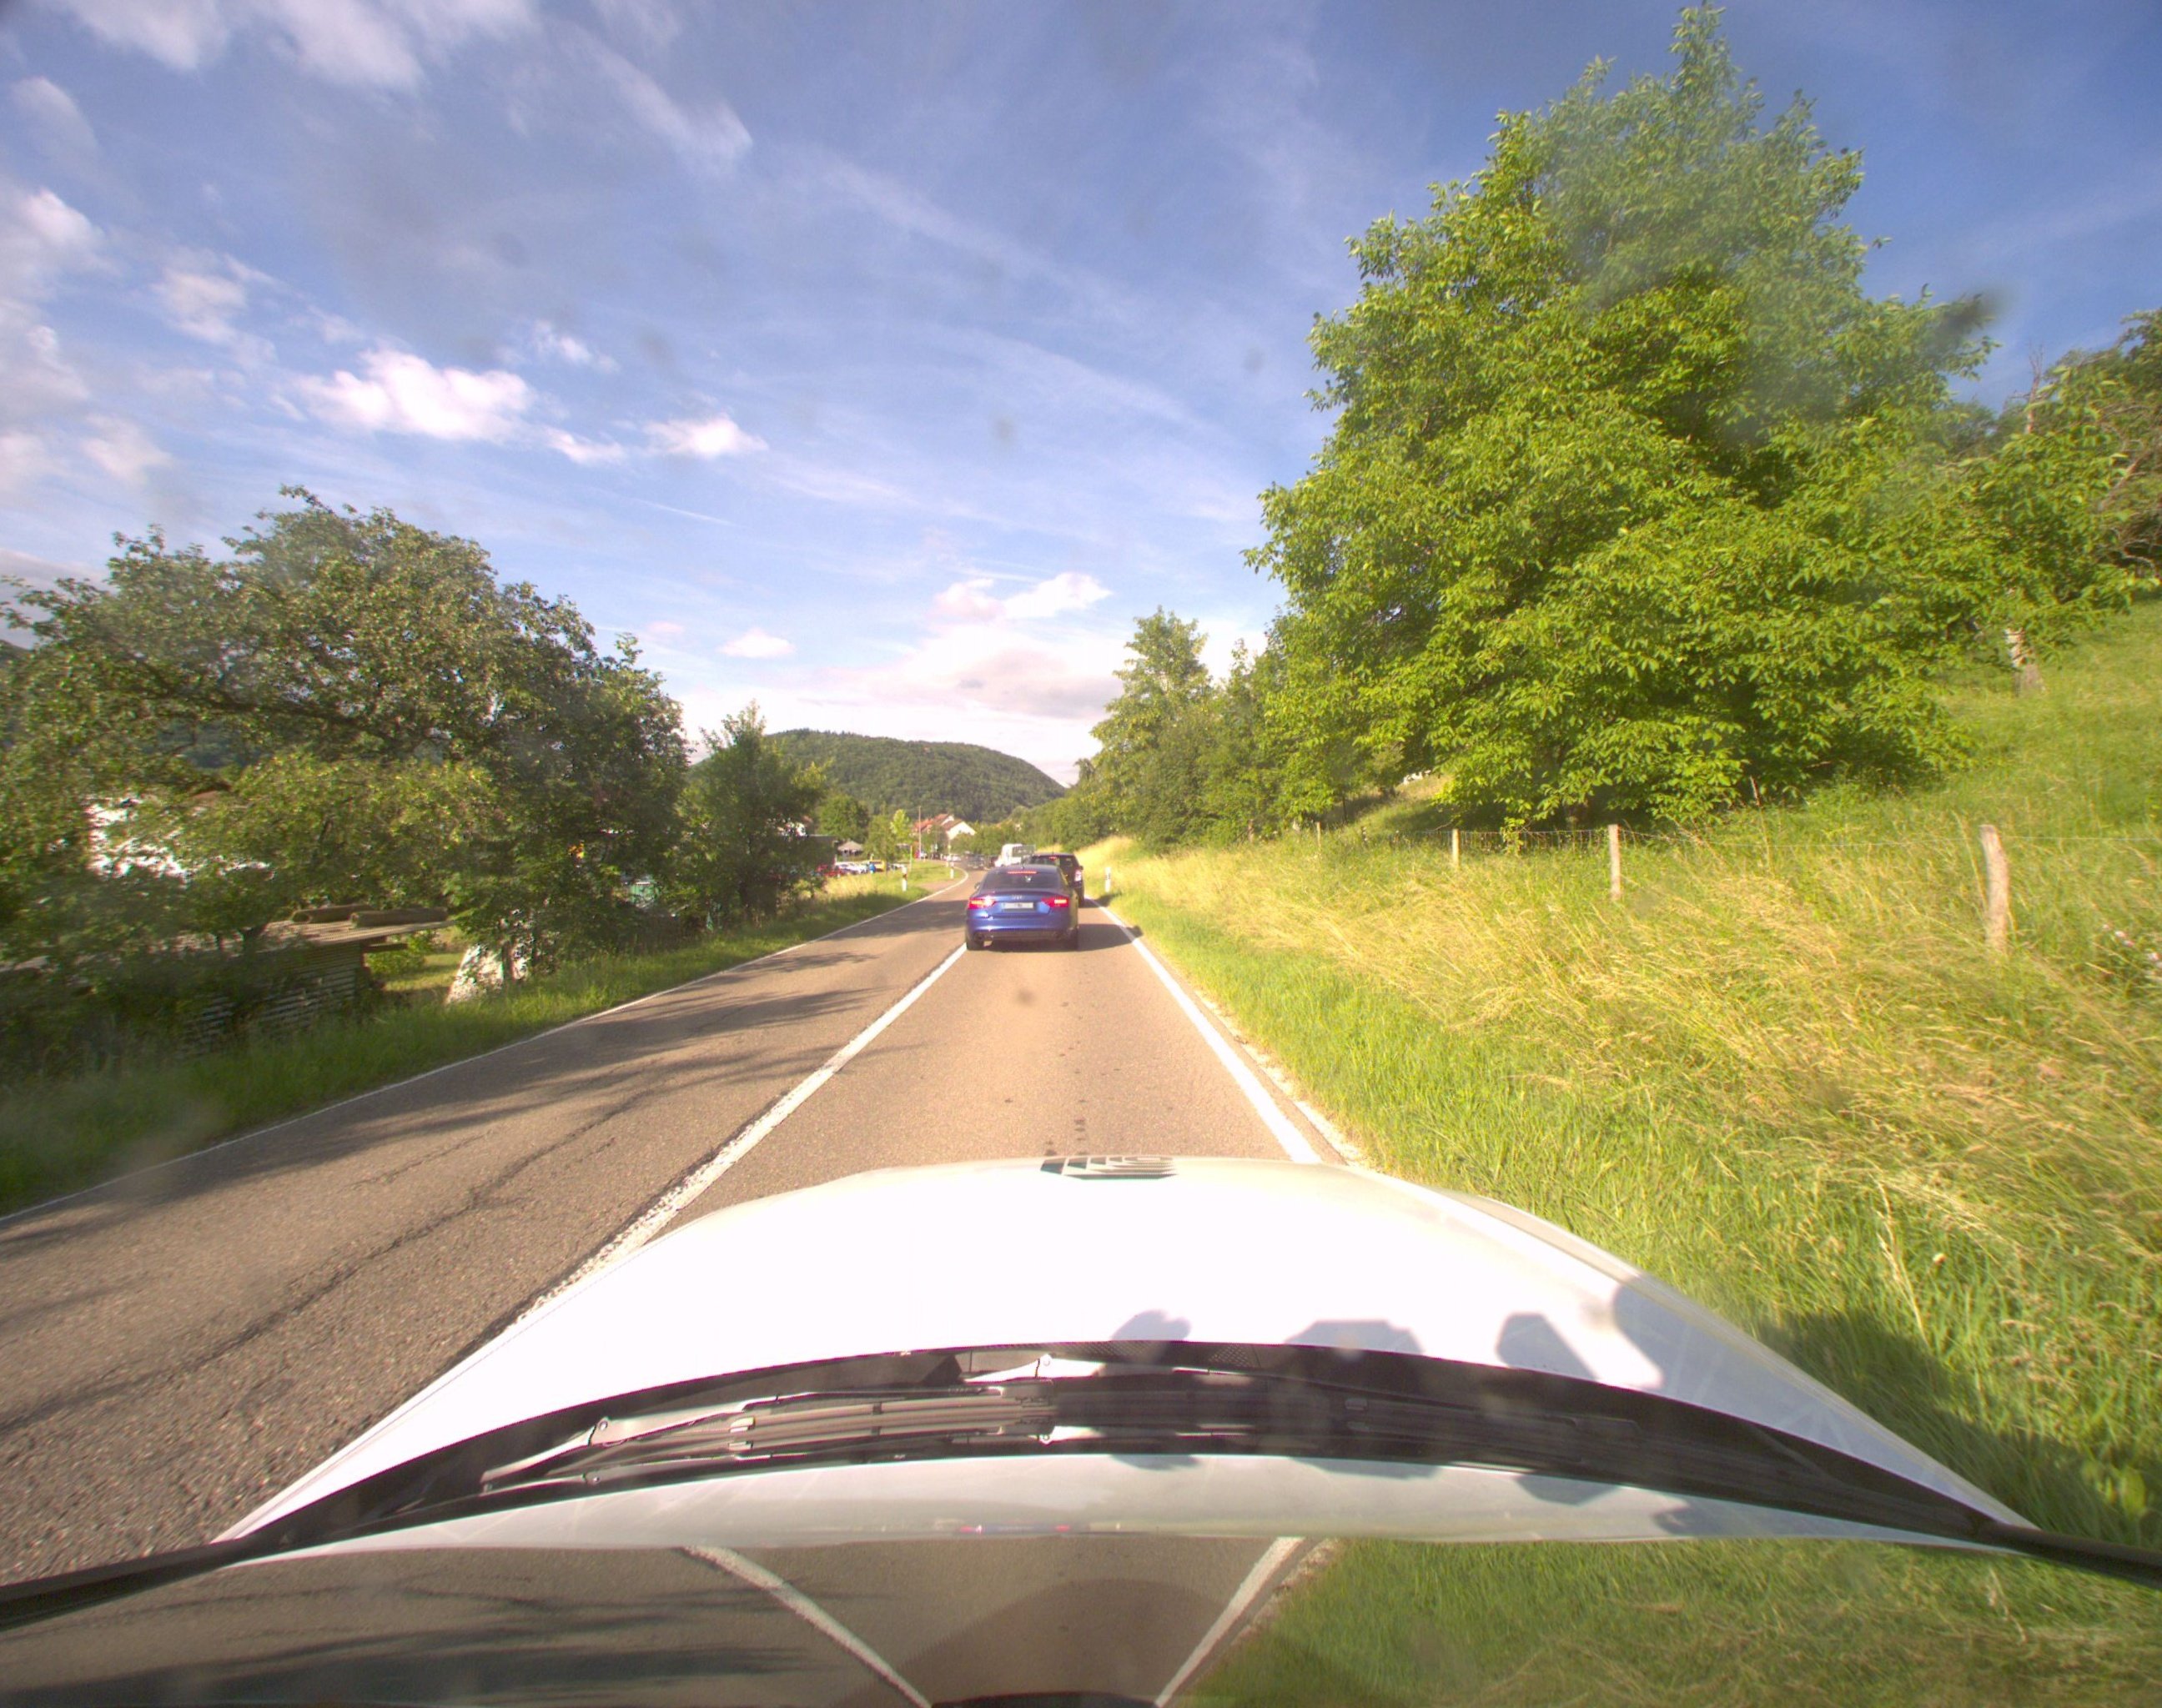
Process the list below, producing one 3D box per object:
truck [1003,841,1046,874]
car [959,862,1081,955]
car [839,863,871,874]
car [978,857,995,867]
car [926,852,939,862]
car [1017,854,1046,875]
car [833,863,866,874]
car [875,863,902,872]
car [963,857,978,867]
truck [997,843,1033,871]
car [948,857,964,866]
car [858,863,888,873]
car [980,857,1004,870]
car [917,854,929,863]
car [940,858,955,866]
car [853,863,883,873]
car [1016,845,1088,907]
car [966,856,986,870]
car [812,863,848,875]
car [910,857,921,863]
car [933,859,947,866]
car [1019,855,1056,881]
[{"bbox_3d":[-5.120,0.302,71.543,2.863,2.665,10.360,0,0,-9],"label":"truck"},{"bbox_3d":[-0.926,0.841,14.349,1.788,1.360,3.999,-1,0,0],"label":"car"},{"bbox_3d":[-31.687,1.993,114.116,3.974,1.553,1.782,0,-1,0],"label":"car"},{"bbox_3d":[-14.050,1.224,120.501,1.997,1.482,3.980,0,-1,-15],"label":"car"},{"bbox_3d":[-31.330,0.686,171.689,2.000,2.014,3.973,0,-1,-20],"label":"car"},{"bbox_3d":[-3.688,0.789,60.097,1.991,1.482,3.992,0,-1,-6],"label":"car"},{"bbox_3d":[-31.574,1.959,110.943,3.974,1.553,1.782,0,-1,0],"label":"car"},{"bbox_3d":[-32.343,2.232,136.898,3.974,1.553,1.782,0,-1,0],"label":"car"},{"bbox_3d":[-17.776,1.319,130.949,1.997,1.482,3.980,0,-1,-15],"label":"car"},{"bbox_3d":[-6.890,0.340,83.185,2.863,2.665,10.611,0,0,-9],"label":"truck"},{"bbox_3d":[-22.005,1.333,142.834,2.001,1.482,3.972,0,-1,-21],"label":"car"},{"bbox_3d":[-31.350,2.080,122.811,3.974,1.553,1.782,0,-1,0],"label":"car"},{"bbox_3d":[-10.309,1.124,94.298,1.999,1.482,3.974,0,-1,-19],"label":"car"},{"bbox_3d":[-35.662,1.068,183.637,2.000,2.014,3.973,0,-1,-20],"label":"car"},{"bbox_3d":[-24.576,1.531,149.603,2.001,1.482,3.972,0,-1,-21],"label":"car"},{"bbox_3d":[-31.430,2.054,120.248,3.974,1.553,1.782,0,-1,0],"label":"car"},{"bbox_3d":[-0.814,0.634,24.693,1.987,1.702,3.999,0,-1,0],"label":"car"},{"bbox_3d":[-10.700,0.924,82.856,1.992,1.376,3.989,0,-1,-8],"label":"car"},{"bbox_3d":[-31.558,1.873,102.598,3.974,1.553,1.782,0,-1,0],"label":"car"},{"bbox_3d":[-38.961,1.450,192.081,2.001,1.482,3.972,0,-1,-21],"label":"car"},{"bbox_3d":[-27.638,1.642,159.205,2.001,1.482,3.972,0,-1,-21],"label":"car"},{"bbox_3d":[-2.637,0.842,48.538,1.992,1.482,3.990,0,-1,-7],"label":"car"}]
